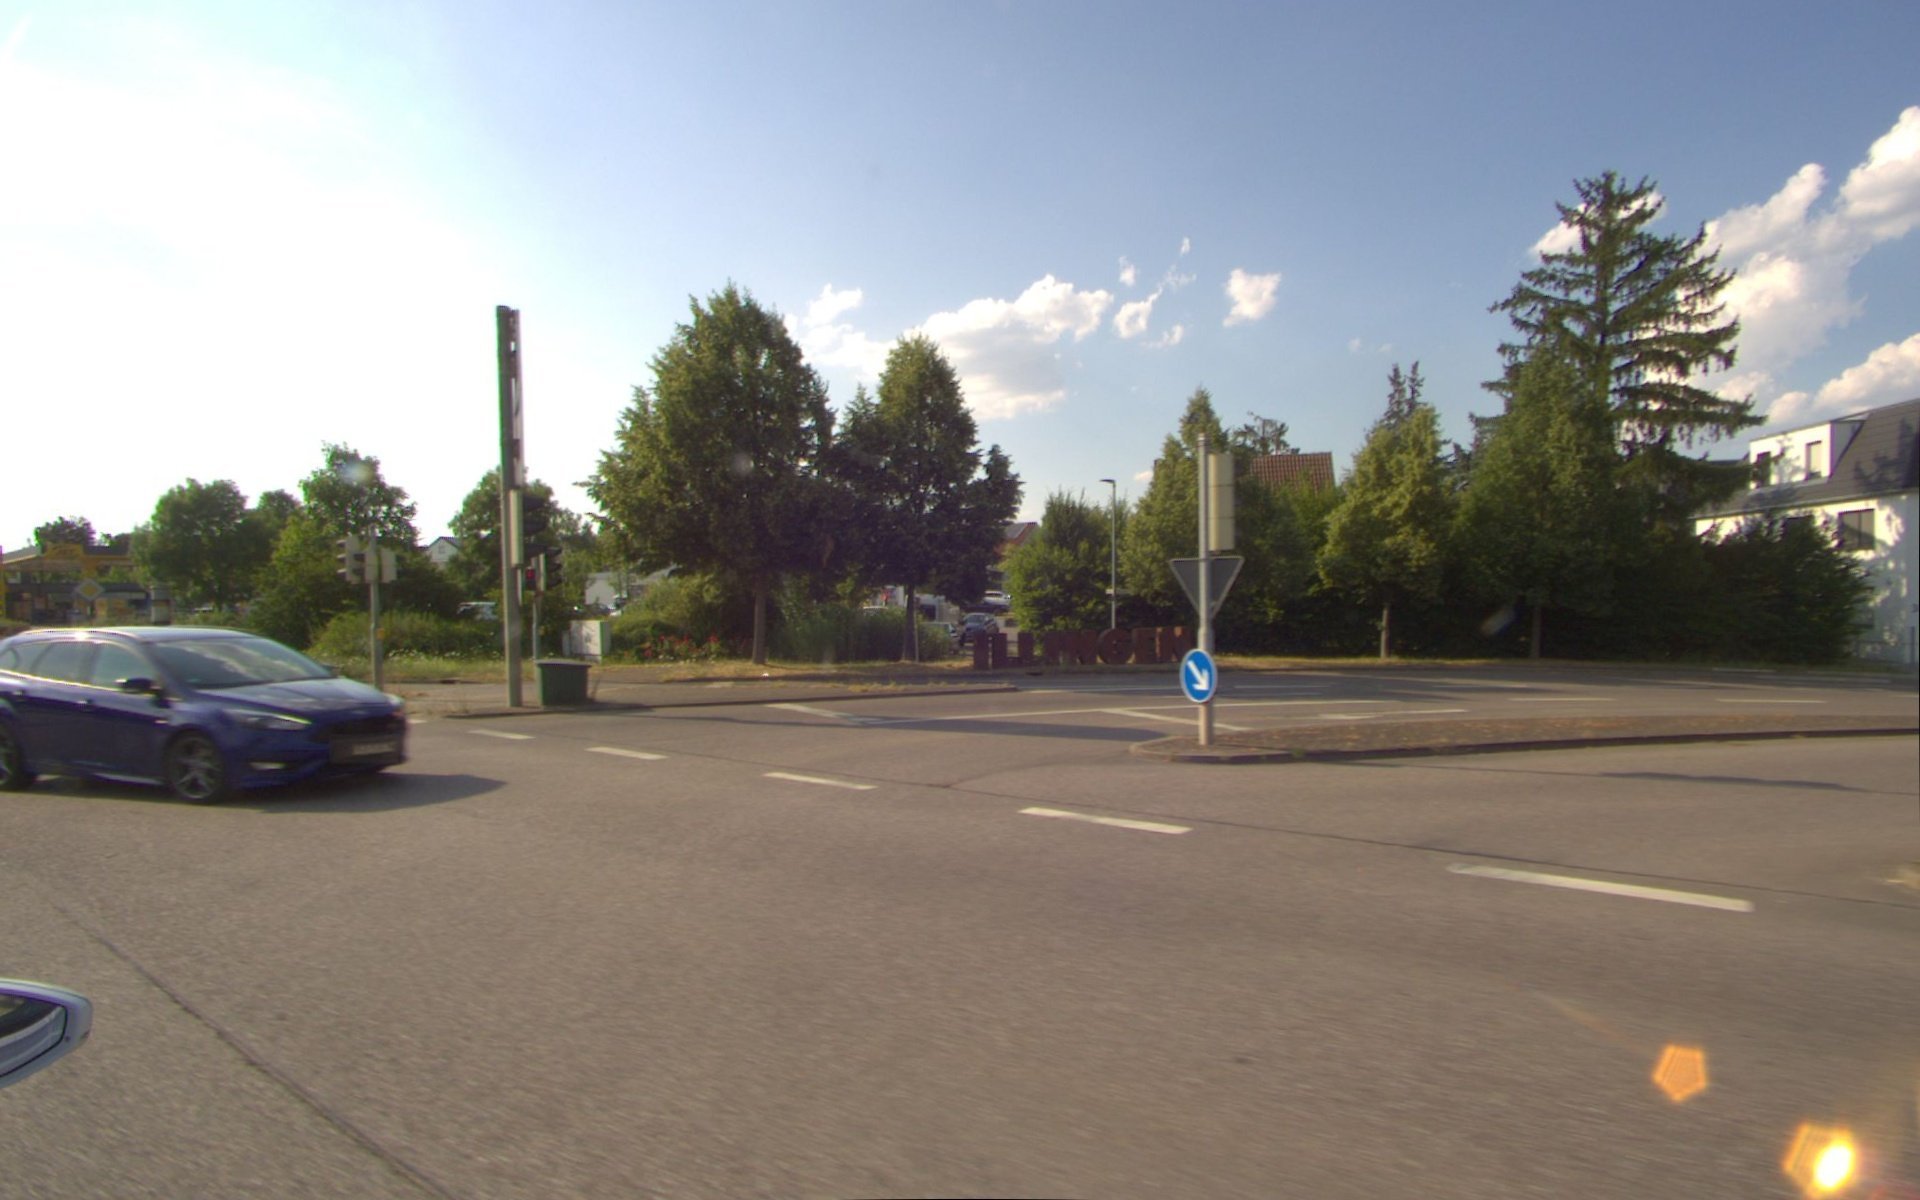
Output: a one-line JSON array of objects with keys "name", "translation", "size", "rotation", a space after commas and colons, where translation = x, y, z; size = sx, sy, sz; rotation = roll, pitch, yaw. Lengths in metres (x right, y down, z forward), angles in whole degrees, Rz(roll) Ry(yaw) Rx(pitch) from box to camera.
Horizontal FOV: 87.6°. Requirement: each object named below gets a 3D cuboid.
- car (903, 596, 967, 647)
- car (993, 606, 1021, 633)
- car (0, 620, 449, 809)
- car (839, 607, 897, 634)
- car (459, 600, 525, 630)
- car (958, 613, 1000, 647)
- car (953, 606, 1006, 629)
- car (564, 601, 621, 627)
[{"name": "car", "translation": [-1.227, 1.172, 52.222], "size": [1.963, 2.538, 5.136], "rotation": [-1, -2, 15]}, {"name": "car", "translation": [3.683, 1.561, 78.168], "size": [1.961, 2.039, 4.001], "rotation": [0, -2, 6]}, {"name": "car", "translation": [-7.258, 0.984, 9.570], "size": [4.225, 1.516, 1.792], "rotation": [-1, -2, 18]}, {"name": "car", "translation": [-5.471, 1.249, 59.668], "size": [3.075, 1.528, 1.577], "rotation": [-1, -2, 22]}, {"name": "car", "translation": [-33.667, 1.147, 72.181], "size": [1.930, 2.039, 4.656], "rotation": [-1, -2, 12]}, {"name": "car", "translation": [1.149, 1.788, 59.245], "size": [1.426, 1.978, 3.996], "rotation": [-1, -2, 17]}, {"name": "car", "translation": [1.394, 1.275, 71.891], "size": [3.502, 1.649, 1.718], "rotation": [-1, -2, 13]}, {"name": "car", "translation": [-30.518, 1.192, 83.270], "size": [1.964, 2.039, 4.668], "rotation": [-1, -2, 17]}]
